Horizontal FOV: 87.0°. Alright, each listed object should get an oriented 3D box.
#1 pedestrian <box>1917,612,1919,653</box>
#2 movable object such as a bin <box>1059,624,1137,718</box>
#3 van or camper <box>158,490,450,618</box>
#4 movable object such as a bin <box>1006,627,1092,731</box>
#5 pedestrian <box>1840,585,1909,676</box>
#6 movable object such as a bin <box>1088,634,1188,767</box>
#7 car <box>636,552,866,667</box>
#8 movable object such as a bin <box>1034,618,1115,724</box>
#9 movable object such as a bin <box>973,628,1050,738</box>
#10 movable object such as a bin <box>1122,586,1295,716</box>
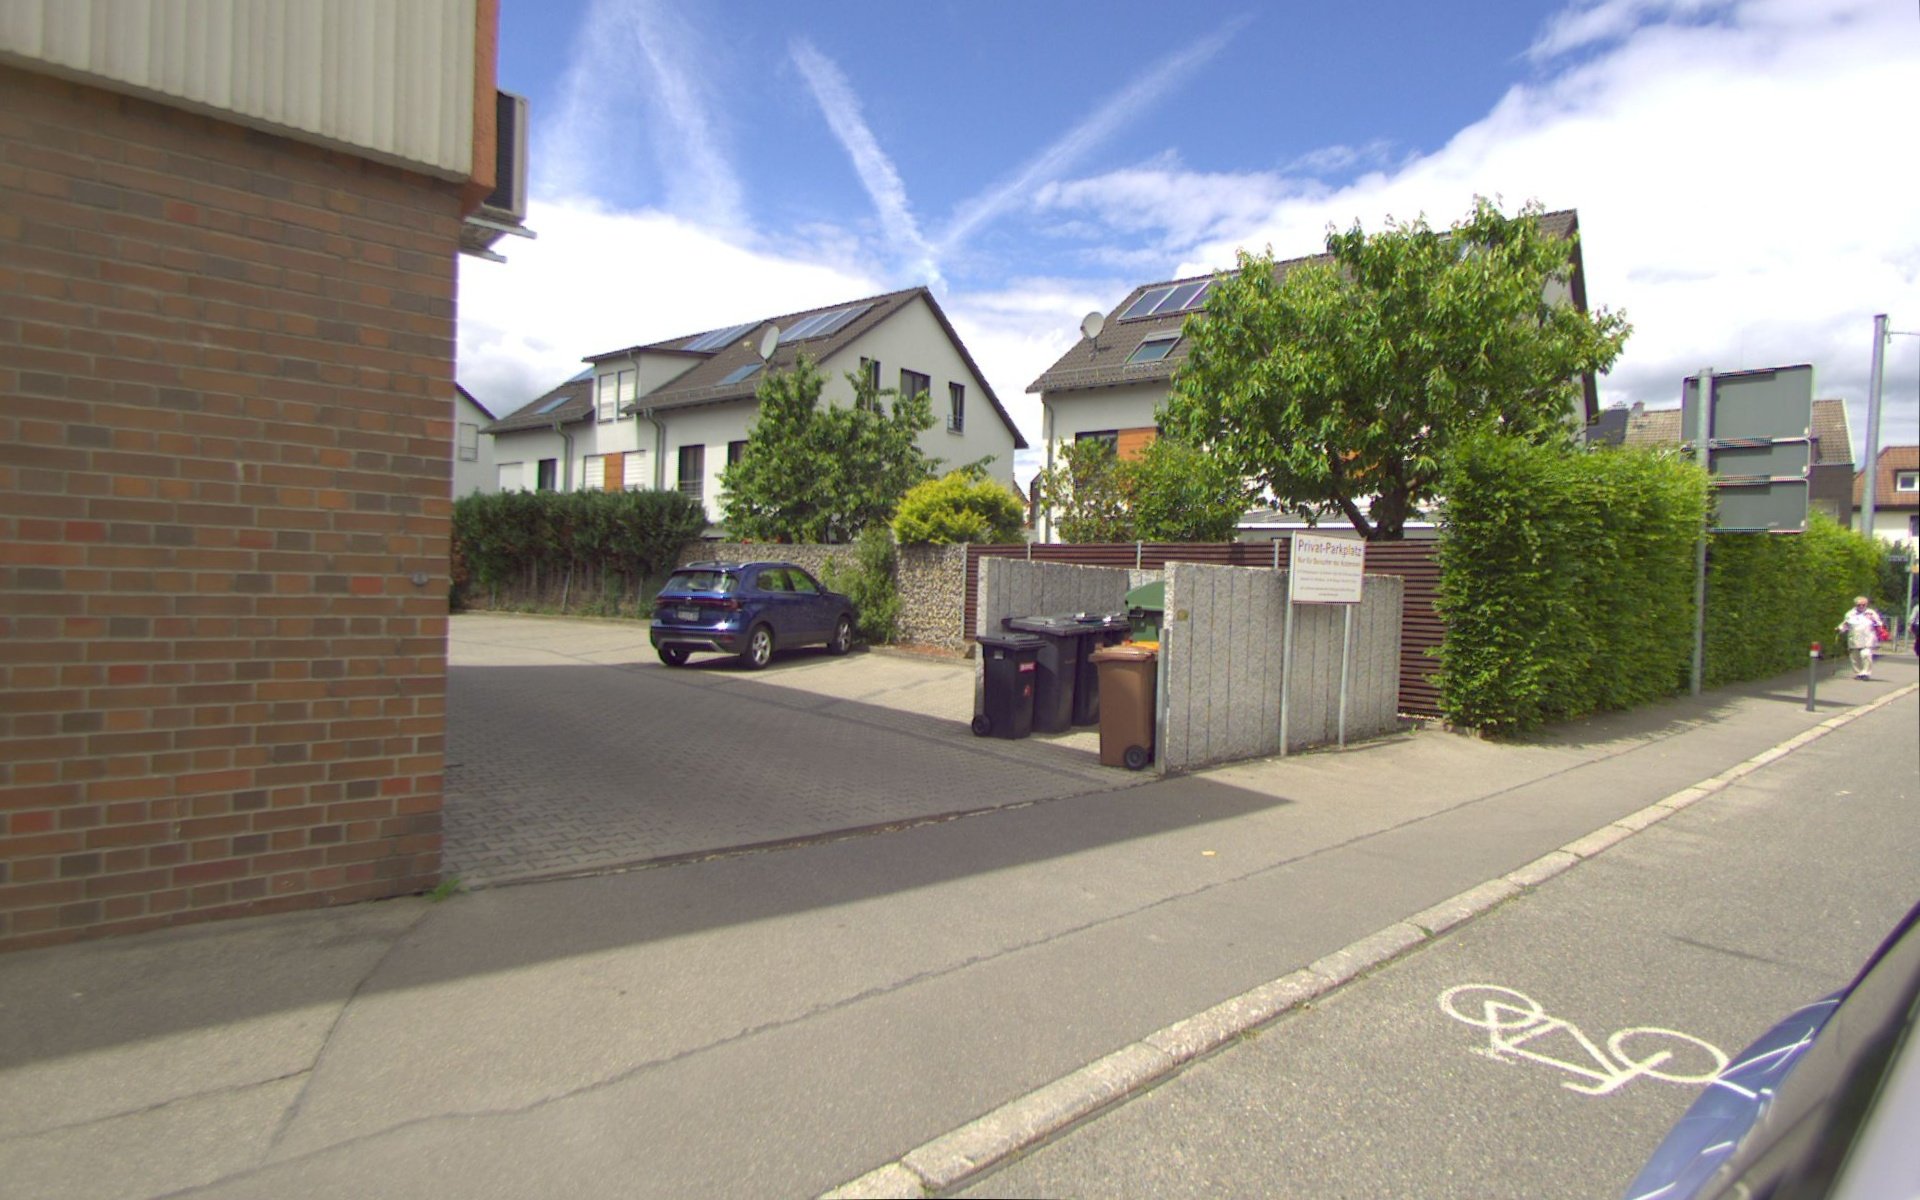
[{"bbox_3d":[25.163,0.566,26.042,0.821,1.624,0.604,1,3,-39],"label":"pedestrian"},{"bbox_3d":[1.438,0.724,10.530,0.630,0.903,0.534,1,1,33],"label":"movable object such as a bin"},{"bbox_3d":[-14.714,-0.997,23.180,2.034,2.574,5.474,2,1,21],"label":"van or camper"},{"bbox_3d":[0.848,0.731,9.609,0.630,0.903,0.534,1,1,33],"label":"movable object such as a bin"},{"bbox_3d":[17.207,0.560,19.052,0.641,1.637,0.801,1,3,-39],"label":"pedestrian"},{"bbox_3d":[1.426,0.773,8.079,0.530,0.963,0.679,1,1,35],"label":"movable object such as a bin"},{"bbox_3d":[-3.175,0.091,16.122,1.768,1.555,3.767,2,1,23],"label":"car"},{"bbox_3d":[1.139,0.690,10.074,0.624,0.979,0.534,1,1,33],"label":"movable object such as a bin"},{"bbox_3d":[0.473,0.733,9.194,0.490,0.924,0.534,1,1,33],"label":"movable object such as a bin"},{"bbox_3d":[2.710,0.502,11.001,1.510,1.278,1.190,0,1,-43],"label":"movable object such as a bin"}]
